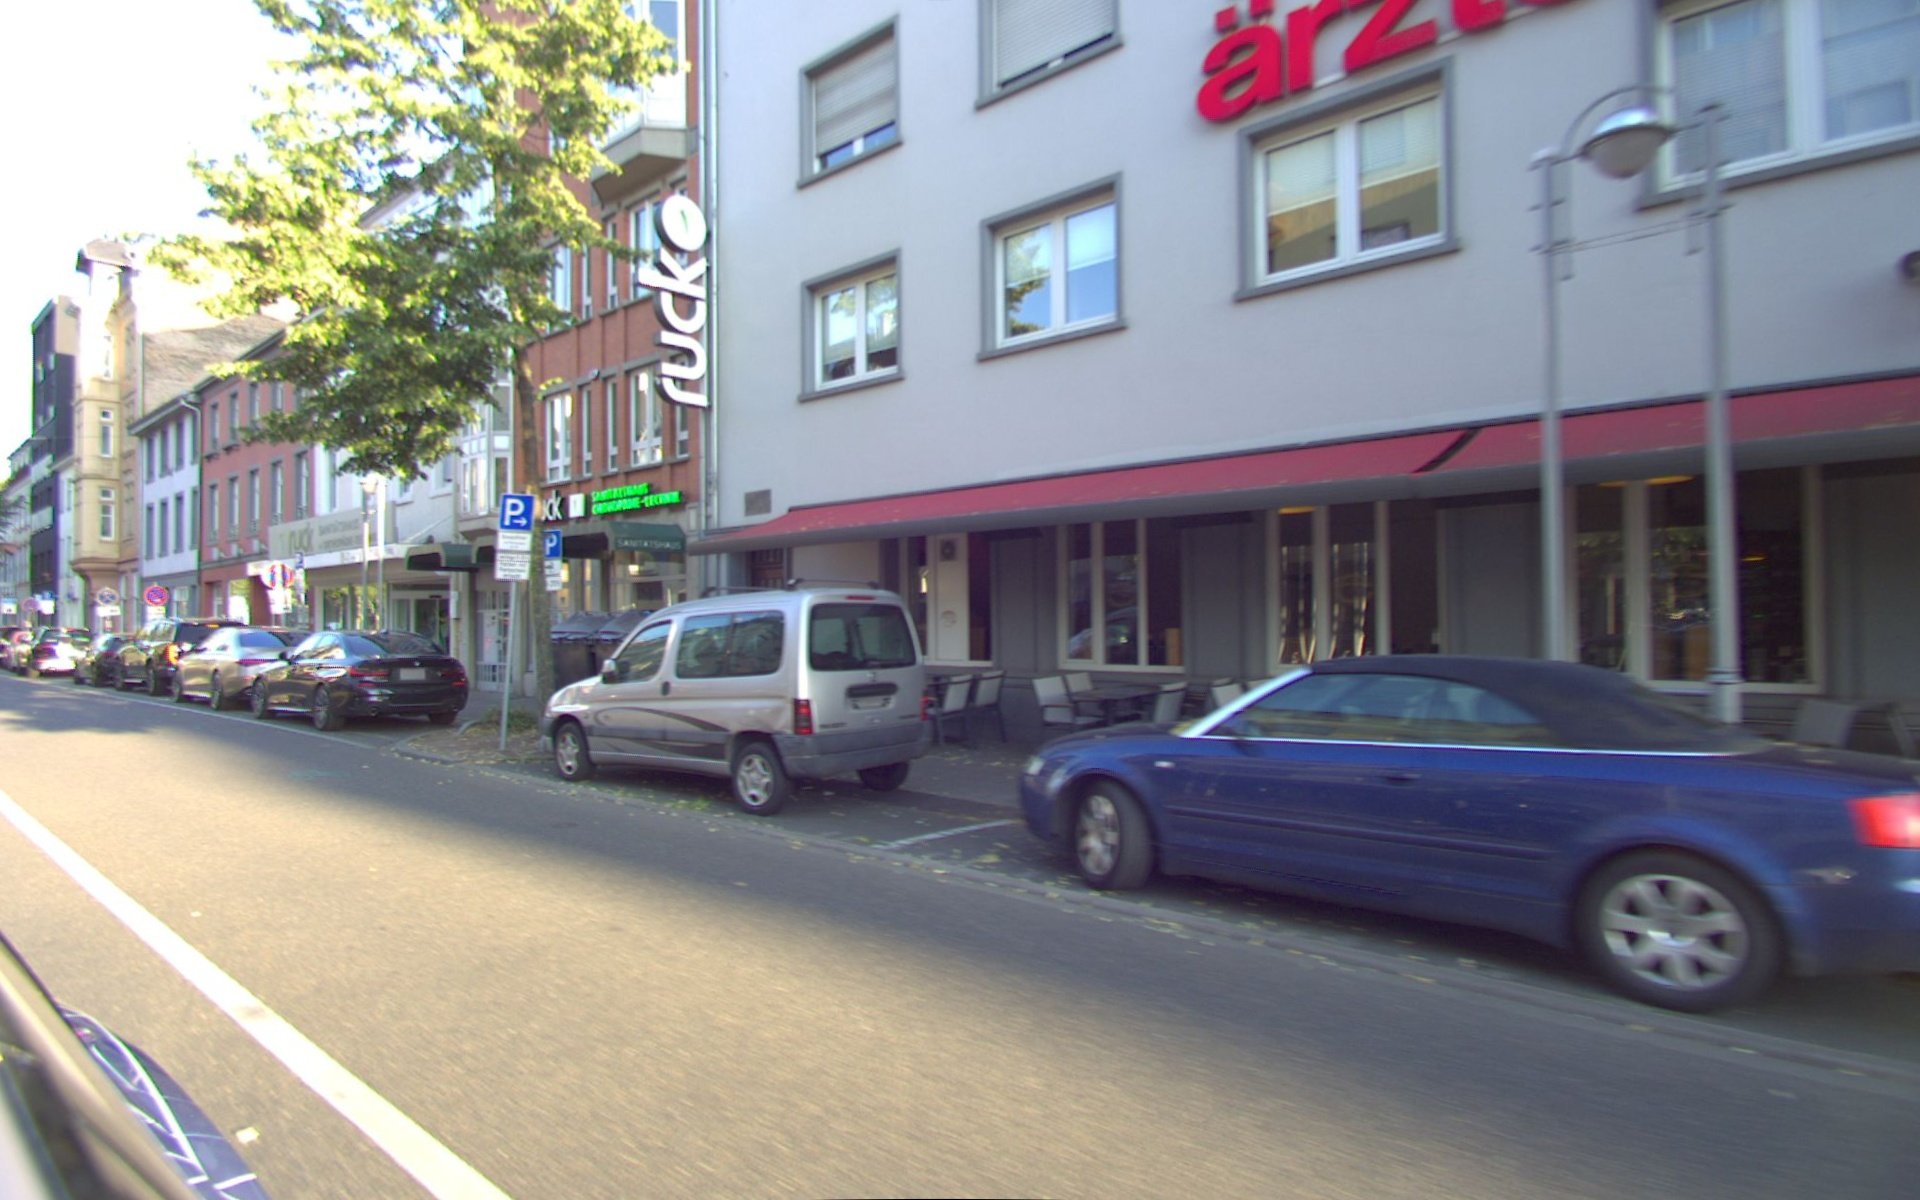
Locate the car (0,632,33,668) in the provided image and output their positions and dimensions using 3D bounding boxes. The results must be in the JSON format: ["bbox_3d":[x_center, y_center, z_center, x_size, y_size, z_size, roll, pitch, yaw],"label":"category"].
[{"bbox_3d":[-45.010,2.266,45.807,2.052,1.594,4.144,-2,-3,35],"label":"car"}]

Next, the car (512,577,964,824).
[{"bbox_3d":[-2.169,0.806,9.415,4.141,1.801,1.897,-2,-3,37],"label":"car"}]

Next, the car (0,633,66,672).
[{"bbox_3d":[-36.151,2.012,39.301,3.540,1.475,1.667,-2,-3,41],"label":"car"}]

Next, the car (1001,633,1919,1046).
[{"bbox_3d":[2.516,0.882,5.304,4.378,1.397,1.895,-2,-3,40],"label":"car"}]

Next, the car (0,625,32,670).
[{"bbox_3d":[-39.897,1.930,41.436,4.210,1.766,2.030,-2,-3,37],"label":"car"}]

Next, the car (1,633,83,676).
[{"bbox_3d":[-33.224,1.935,36.598,3.865,1.475,1.747,-2,-3,41],"label":"car"}]

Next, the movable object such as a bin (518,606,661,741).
[{"bbox_3d":[-5.116,0.974,13.995,1.367,1.685,1.268,-2,1,38],"label":"movable object such as a bin"}]

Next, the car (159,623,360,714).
[{"bbox_3d":[-13.546,1.245,19.440,5.110,1.522,1.973,-2,-3,41],"label":"car"}]

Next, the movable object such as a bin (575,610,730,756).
[{"bbox_3d":[-3.971,1.013,13.086,1.439,1.685,1.269,-2,1,38],"label":"movable object such as a bin"}]

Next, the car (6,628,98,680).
[{"bbox_3d":[-30.062,1.748,33.475,4.215,1.626,1.747,-2,-3,41],"label":"car"}]

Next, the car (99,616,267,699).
[{"bbox_3d":[-18.676,1.328,24.236,5.293,1.783,1.974,-2,-3,39],"label":"car"}]

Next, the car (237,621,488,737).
[{"bbox_3d":[-9.318,1.129,15.631,4.635,1.522,1.895,-2,-3,40],"label":"car"}]

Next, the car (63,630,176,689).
[{"bbox_3d":[-23.454,1.621,28.180,4.215,1.522,1.747,-2,-3,41],"label":"car"}]
